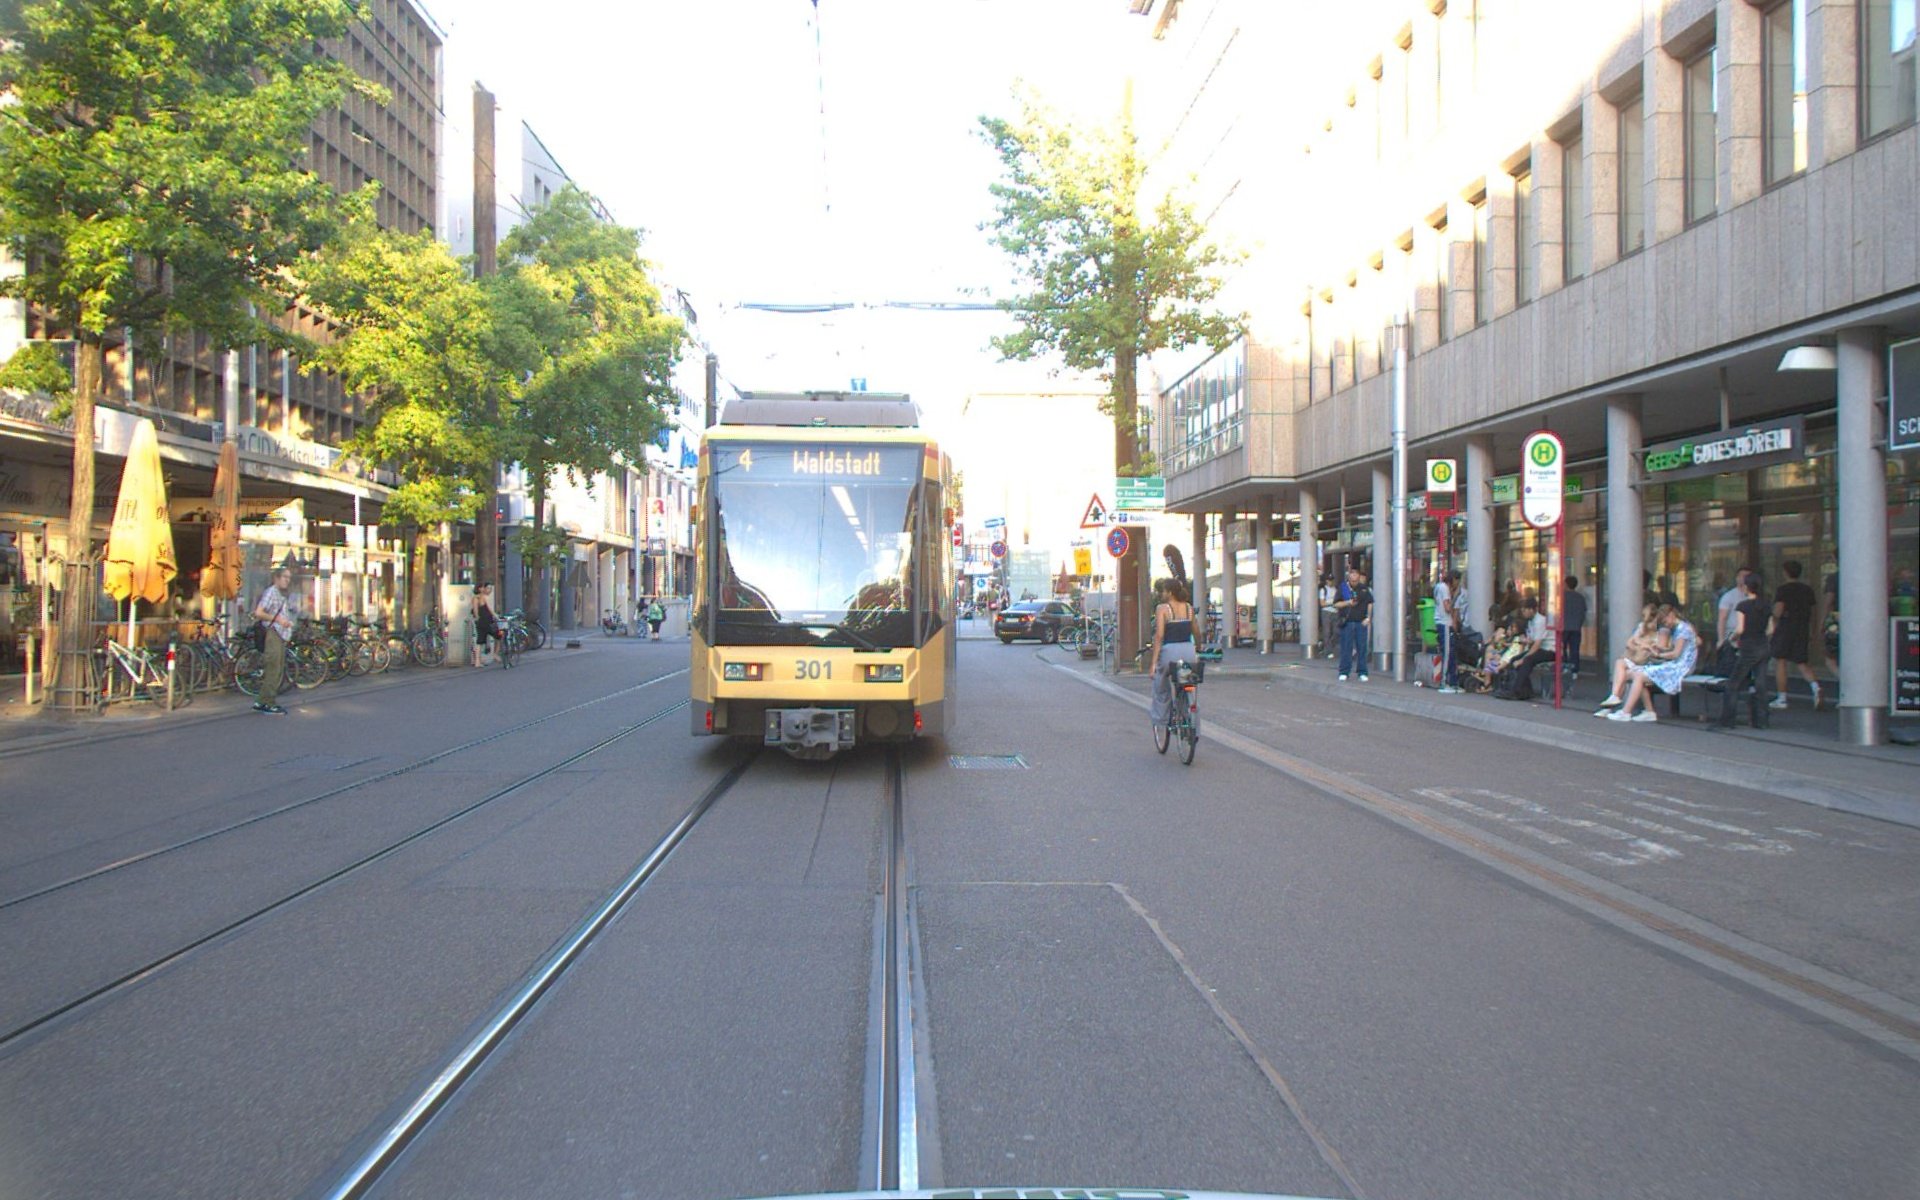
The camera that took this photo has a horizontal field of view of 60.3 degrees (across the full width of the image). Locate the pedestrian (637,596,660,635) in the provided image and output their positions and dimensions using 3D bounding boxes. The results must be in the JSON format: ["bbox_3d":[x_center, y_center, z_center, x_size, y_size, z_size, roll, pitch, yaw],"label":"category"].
[{"bbox_3d":[-11.791,0.596,62.578,0.544,1.459,0.682,-1,-1,35],"label":"pedestrian"}]

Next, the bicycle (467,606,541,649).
[{"bbox_3d":[-11.770,0.715,42.725,1.736,1.063,0.489,1,0,-2],"label":"bicycle"}]

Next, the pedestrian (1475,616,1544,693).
[{"bbox_3d":[7.755,0.764,23.362,0.796,1.061,0.544,0,-1,-1],"label":"pedestrian"}]

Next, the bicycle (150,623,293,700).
[{"bbox_3d":[-10.317,0.859,23.138,1.738,1.007,0.489,1,1,-8],"label":"bicycle"}]

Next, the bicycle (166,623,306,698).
[{"bbox_3d":[-10.344,0.862,23.666,1.738,1.007,0.489,1,1,-8],"label":"bicycle"}]

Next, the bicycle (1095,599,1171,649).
[{"bbox_3d":[4.661,0.639,44.624,1.879,1.244,0.762,-2,0,-7],"label":"bicycle"}]

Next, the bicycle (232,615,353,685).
[{"bbox_3d":[-10.891,0.812,27.009,1.738,1.090,0.488,2,0,-8],"label":"bicycle"}]

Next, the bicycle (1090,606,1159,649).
[{"bbox_3d":[4.598,0.766,46.242,1.816,1.128,0.666,-2,0,-5],"label":"bicycle"}]

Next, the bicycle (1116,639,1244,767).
[{"bbox_3d":[2.104,0.966,16.102,0.799,1.092,2.111,1,0,-4],"label":"bicycle"}]

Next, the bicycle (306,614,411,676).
[{"bbox_3d":[-11.109,0.828,30.585,1.738,1.090,0.488,2,0,-8],"label":"bicycle"}]

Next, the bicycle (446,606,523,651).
[{"bbox_3d":[-11.742,0.706,40.841,1.736,1.063,0.489,1,0,-2],"label":"bicycle"}]

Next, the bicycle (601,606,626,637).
[{"bbox_3d":[-13.382,0.836,63.915,0.488,1.127,1.801,0,1,3],"label":"bicycle"}]

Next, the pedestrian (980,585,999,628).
[{"bbox_3d":[1.202,0.261,67.071,0.703,1.756,0.709,0,-1,-2],"label":"pedestrian"}]

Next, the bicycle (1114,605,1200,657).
[{"bbox_3d":[4.849,0.757,40.800,1.958,1.175,0.724,-2,0,-7],"label":"bicycle"}]

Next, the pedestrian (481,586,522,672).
[{"bbox_3d":[-9.333,0.584,33.657,0.589,1.729,0.535,1,0,27],"label":"pedestrian"}]

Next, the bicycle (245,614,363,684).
[{"bbox_3d":[-10.931,0.814,27.585,1.738,1.090,0.488,2,0,-8],"label":"bicycle"}]

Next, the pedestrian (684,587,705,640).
[{"bbox_3d":[-9.913,0.505,61.687,0.759,1.960,0.708,0,-1,-10],"label":"pedestrian"}]

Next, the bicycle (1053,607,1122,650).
[{"bbox_3d":[3.543,0.800,46.027,1.816,1.128,0.666,-2,0,-5],"label":"bicycle"}]

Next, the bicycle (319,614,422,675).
[{"bbox_3d":[-11.123,0.831,31.237,1.738,1.090,0.488,2,0,-8],"label":"bicycle"}]

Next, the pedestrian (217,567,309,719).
[{"bbox_3d":[-8.656,0.523,20.526,0.814,1.824,0.976,0,-1,-40],"label":"pedestrian"}]

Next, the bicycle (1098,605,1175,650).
[{"bbox_3d":[4.685,0.711,43.877,1.879,1.096,0.762,-2,0,-7],"label":"bicycle"}]

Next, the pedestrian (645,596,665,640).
[{"bbox_3d":[-11.028,0.652,59.800,0.671,1.569,0.604,0,-1,-8],"label":"pedestrian"}]

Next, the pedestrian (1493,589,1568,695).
[{"bbox_3d":[7.740,0.566,22.461,0.796,1.405,0.662,0,-1,-1],"label":"pedestrian"}]

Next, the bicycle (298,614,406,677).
[{"bbox_3d":[-11.036,0.826,30.042,1.738,1.090,0.488,2,0,-8],"label":"bicycle"}]

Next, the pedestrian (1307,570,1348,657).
[{"bbox_3d":[8.102,0.295,36.490,0.655,1.872,0.879,-1,0,-2],"label":"pedestrian"}]

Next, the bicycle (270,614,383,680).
[{"bbox_3d":[-11.024,0.820,28.822,1.738,1.090,0.488,2,0,-8],"label":"bicycle"}]

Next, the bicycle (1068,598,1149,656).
[{"bbox_3d":[3.746,0.676,41.719,1.879,1.356,0.724,-2,0,-7],"label":"bicycle"}]

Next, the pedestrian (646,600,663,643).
[{"bbox_3d":[-10.906,0.783,59.047,0.592,1.520,0.554,0,-1,-10],"label":"pedestrian"}]

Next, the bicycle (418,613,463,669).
[{"bbox_3d":[-10.531,0.823,33.572,0.478,1.063,1.776,0,1,-5],"label":"bicycle"}]

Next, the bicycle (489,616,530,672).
[{"bbox_3d":[-9.197,0.882,33.816,0.478,1.063,1.776,0,1,-5],"label":"bicycle"}]

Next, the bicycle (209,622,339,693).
[{"bbox_3d":[-10.388,0.868,25.077,1.738,1.007,0.489,1,1,-8],"label":"bicycle"}]

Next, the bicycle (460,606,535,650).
[{"bbox_3d":[-11.785,0.712,42.144,1.736,1.063,0.489,1,0,-2],"label":"bicycle"}]

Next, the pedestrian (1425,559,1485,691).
[{"bbox_3d":[7.186,0.354,24.021,0.626,1.872,0.667,-1,0,-1],"label":"pedestrian"}]

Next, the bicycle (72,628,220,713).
[{"bbox_3d":[-10.190,0.875,20.716,1.734,0.983,0.490,2,-1,15],"label":"bicycle"}]

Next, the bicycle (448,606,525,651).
[{"bbox_3d":[-11.748,0.707,41.084,1.736,1.063,0.489,1,0,-2],"label":"bicycle"}]
